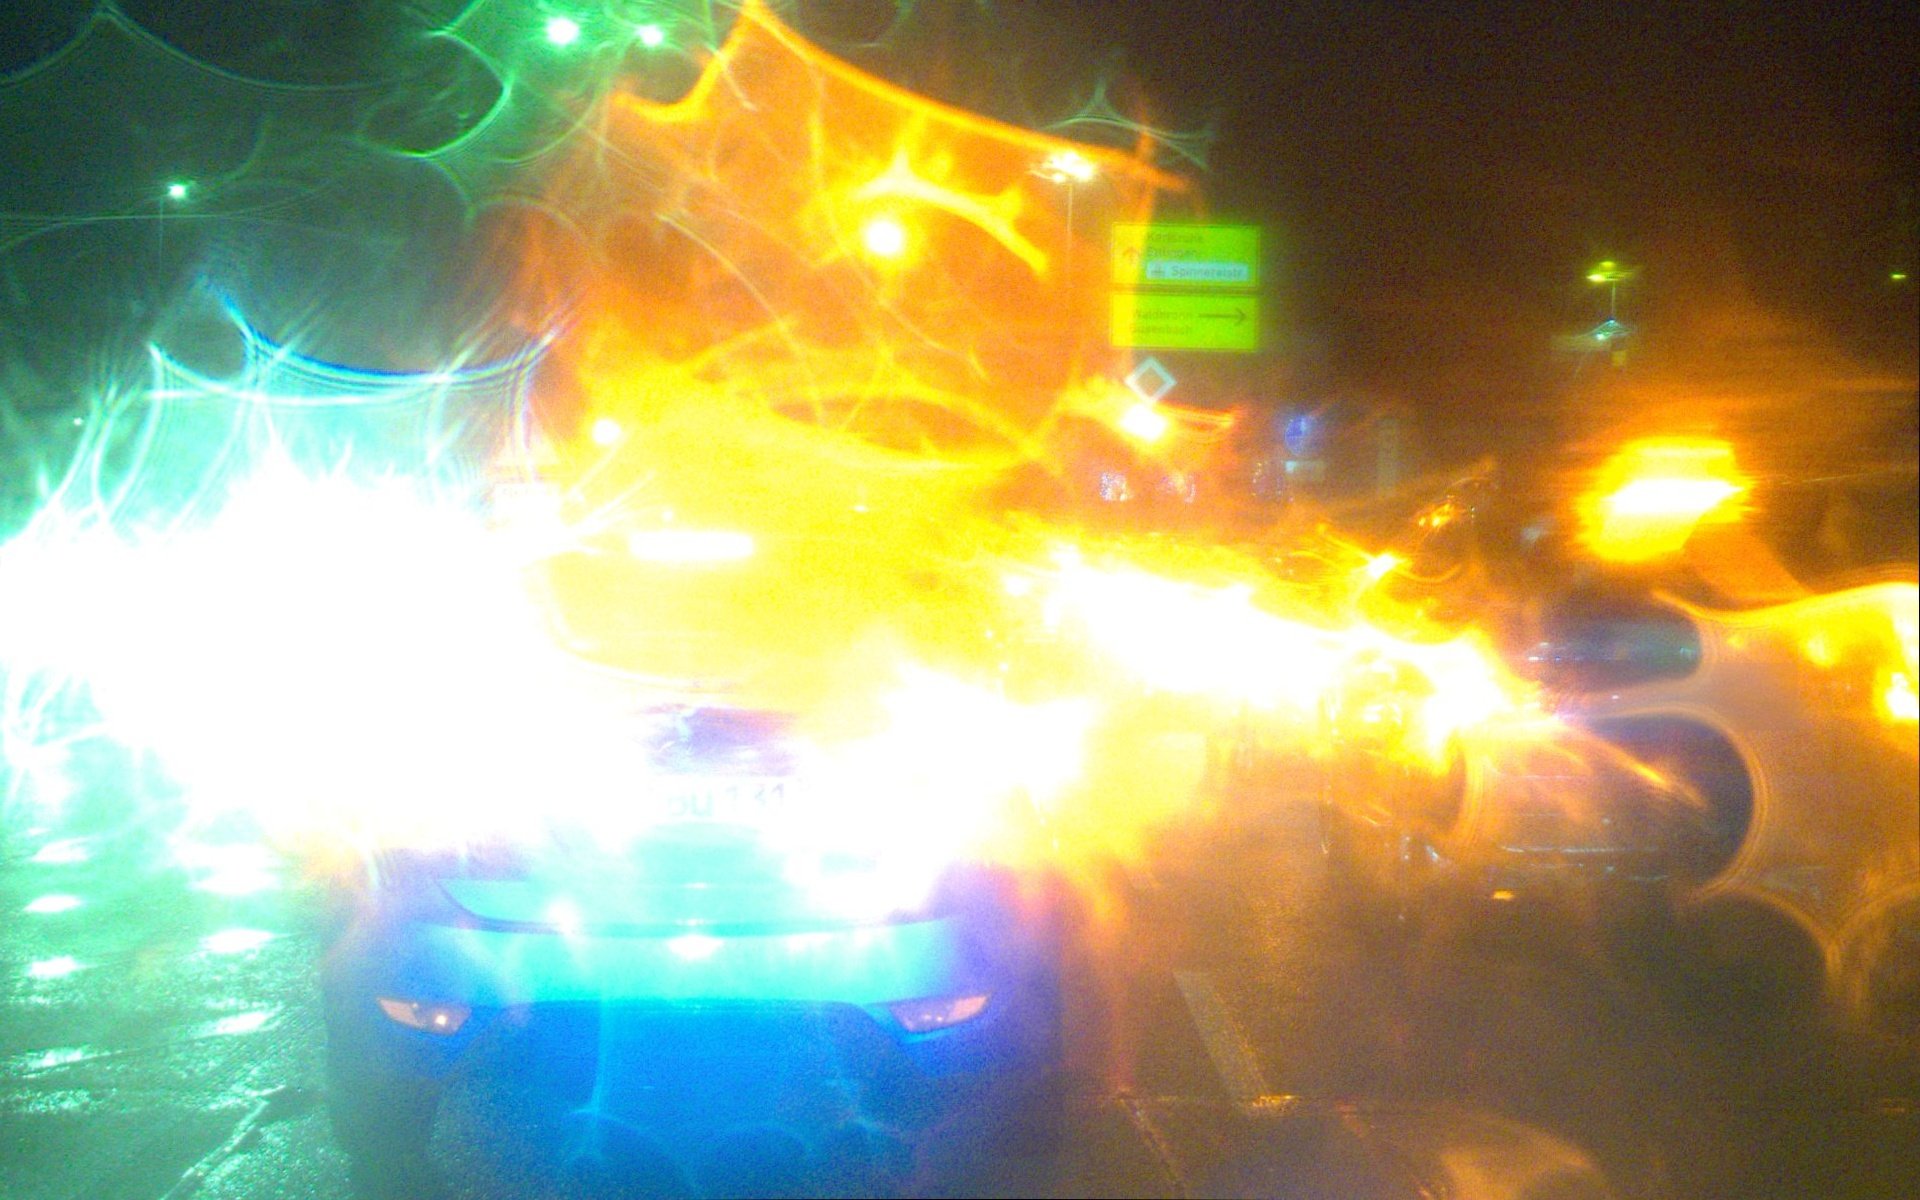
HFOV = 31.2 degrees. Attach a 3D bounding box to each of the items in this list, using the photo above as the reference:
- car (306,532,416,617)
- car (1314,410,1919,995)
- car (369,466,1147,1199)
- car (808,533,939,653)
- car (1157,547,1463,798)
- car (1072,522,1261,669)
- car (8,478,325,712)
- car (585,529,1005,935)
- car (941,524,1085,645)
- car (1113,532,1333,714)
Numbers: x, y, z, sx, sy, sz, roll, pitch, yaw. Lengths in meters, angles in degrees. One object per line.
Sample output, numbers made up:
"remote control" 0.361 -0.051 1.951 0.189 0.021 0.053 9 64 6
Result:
"car" -10.597 -0.473 61.008 1.719 1.437 3.740 0 1 -7
"car" 2.525 0.293 13.691 1.942 1.965 4.218 0 1 2
"car" -0.465 0.506 9.483 1.694 1.624 3.853 1 1 -1
"car" -1.296 -0.139 50.351 1.708 1.632 3.731 -1 1 -4
"car" 2.191 0.395 22.474 1.768 1.445 4.218 0 1 3
"car" 2.107 -0.089 35.997 1.663 1.445 4.050 0 1 -1
"car" -6.907 -0.085 30.423 1.993 1.905 4.743 0 1 -4
"car" -0.688 0.510 16.130 1.708 1.632 3.731 -1 1 0
"car" 0.620 -0.198 43.049 1.663 1.445 4.050 0 0 -1
"car" 2.195 0.170 29.527 1.663 1.445 4.050 0 0 1
